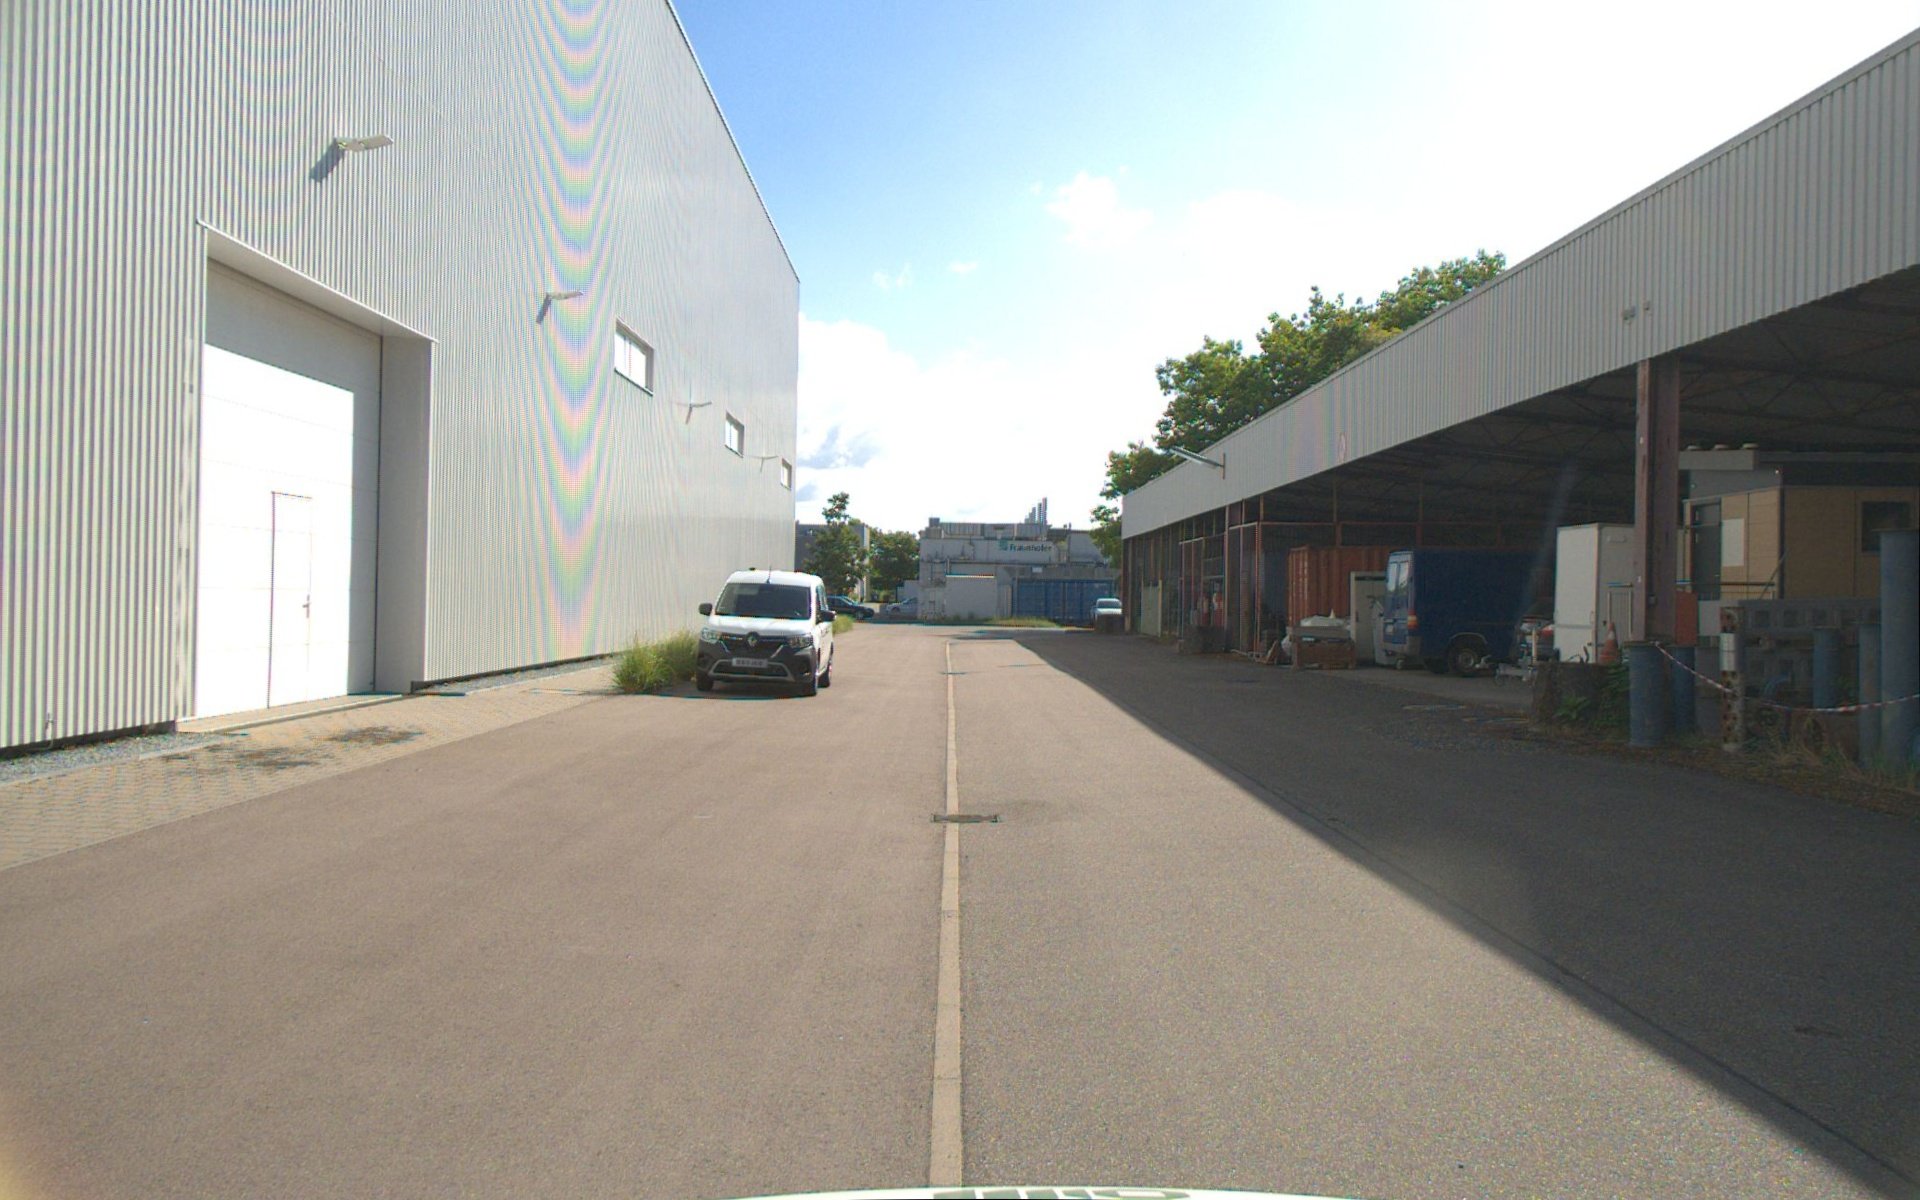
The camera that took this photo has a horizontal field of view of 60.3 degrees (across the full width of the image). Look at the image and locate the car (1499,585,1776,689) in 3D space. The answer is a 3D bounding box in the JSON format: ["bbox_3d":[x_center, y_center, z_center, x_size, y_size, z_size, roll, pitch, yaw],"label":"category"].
[{"bbox_3d":[11.358,0.638,27.896,3.955,1.551,1.684,2,-2,0],"label":"car"}]

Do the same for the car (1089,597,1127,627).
[{"bbox_3d":[8.519,0.676,95.433,1.921,1.592,4.060,2,1,1],"label":"car"}]

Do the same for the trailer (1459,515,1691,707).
[{"bbox_3d":[8.189,0.154,22.174,2.472,2.441,1.727,1,-1,0],"label":"trailer"}]

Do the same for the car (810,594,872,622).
[{"bbox_3d":[-7.741,0.506,107.670,3.906,1.626,1.741,2,-2,-2],"label":"car"}]

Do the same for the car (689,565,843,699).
[{"bbox_3d":[-2.892,0.435,25.510,1.781,1.818,4.405,2,0,0],"label":"car"}]

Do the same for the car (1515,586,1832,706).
[{"bbox_3d":[10.478,0.682,24.463,3.955,1.551,1.684,2,-2,0],"label":"car"}]

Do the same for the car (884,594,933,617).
[{"bbox_3d":[-4.204,0.459,135.589,3.906,1.626,1.847,2,-2,-2],"label":"car"}]

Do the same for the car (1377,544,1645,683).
[{"bbox_3d":[10.253,0.280,30.982,4.342,2.350,1.915,2,-2,0],"label":"car"}]
